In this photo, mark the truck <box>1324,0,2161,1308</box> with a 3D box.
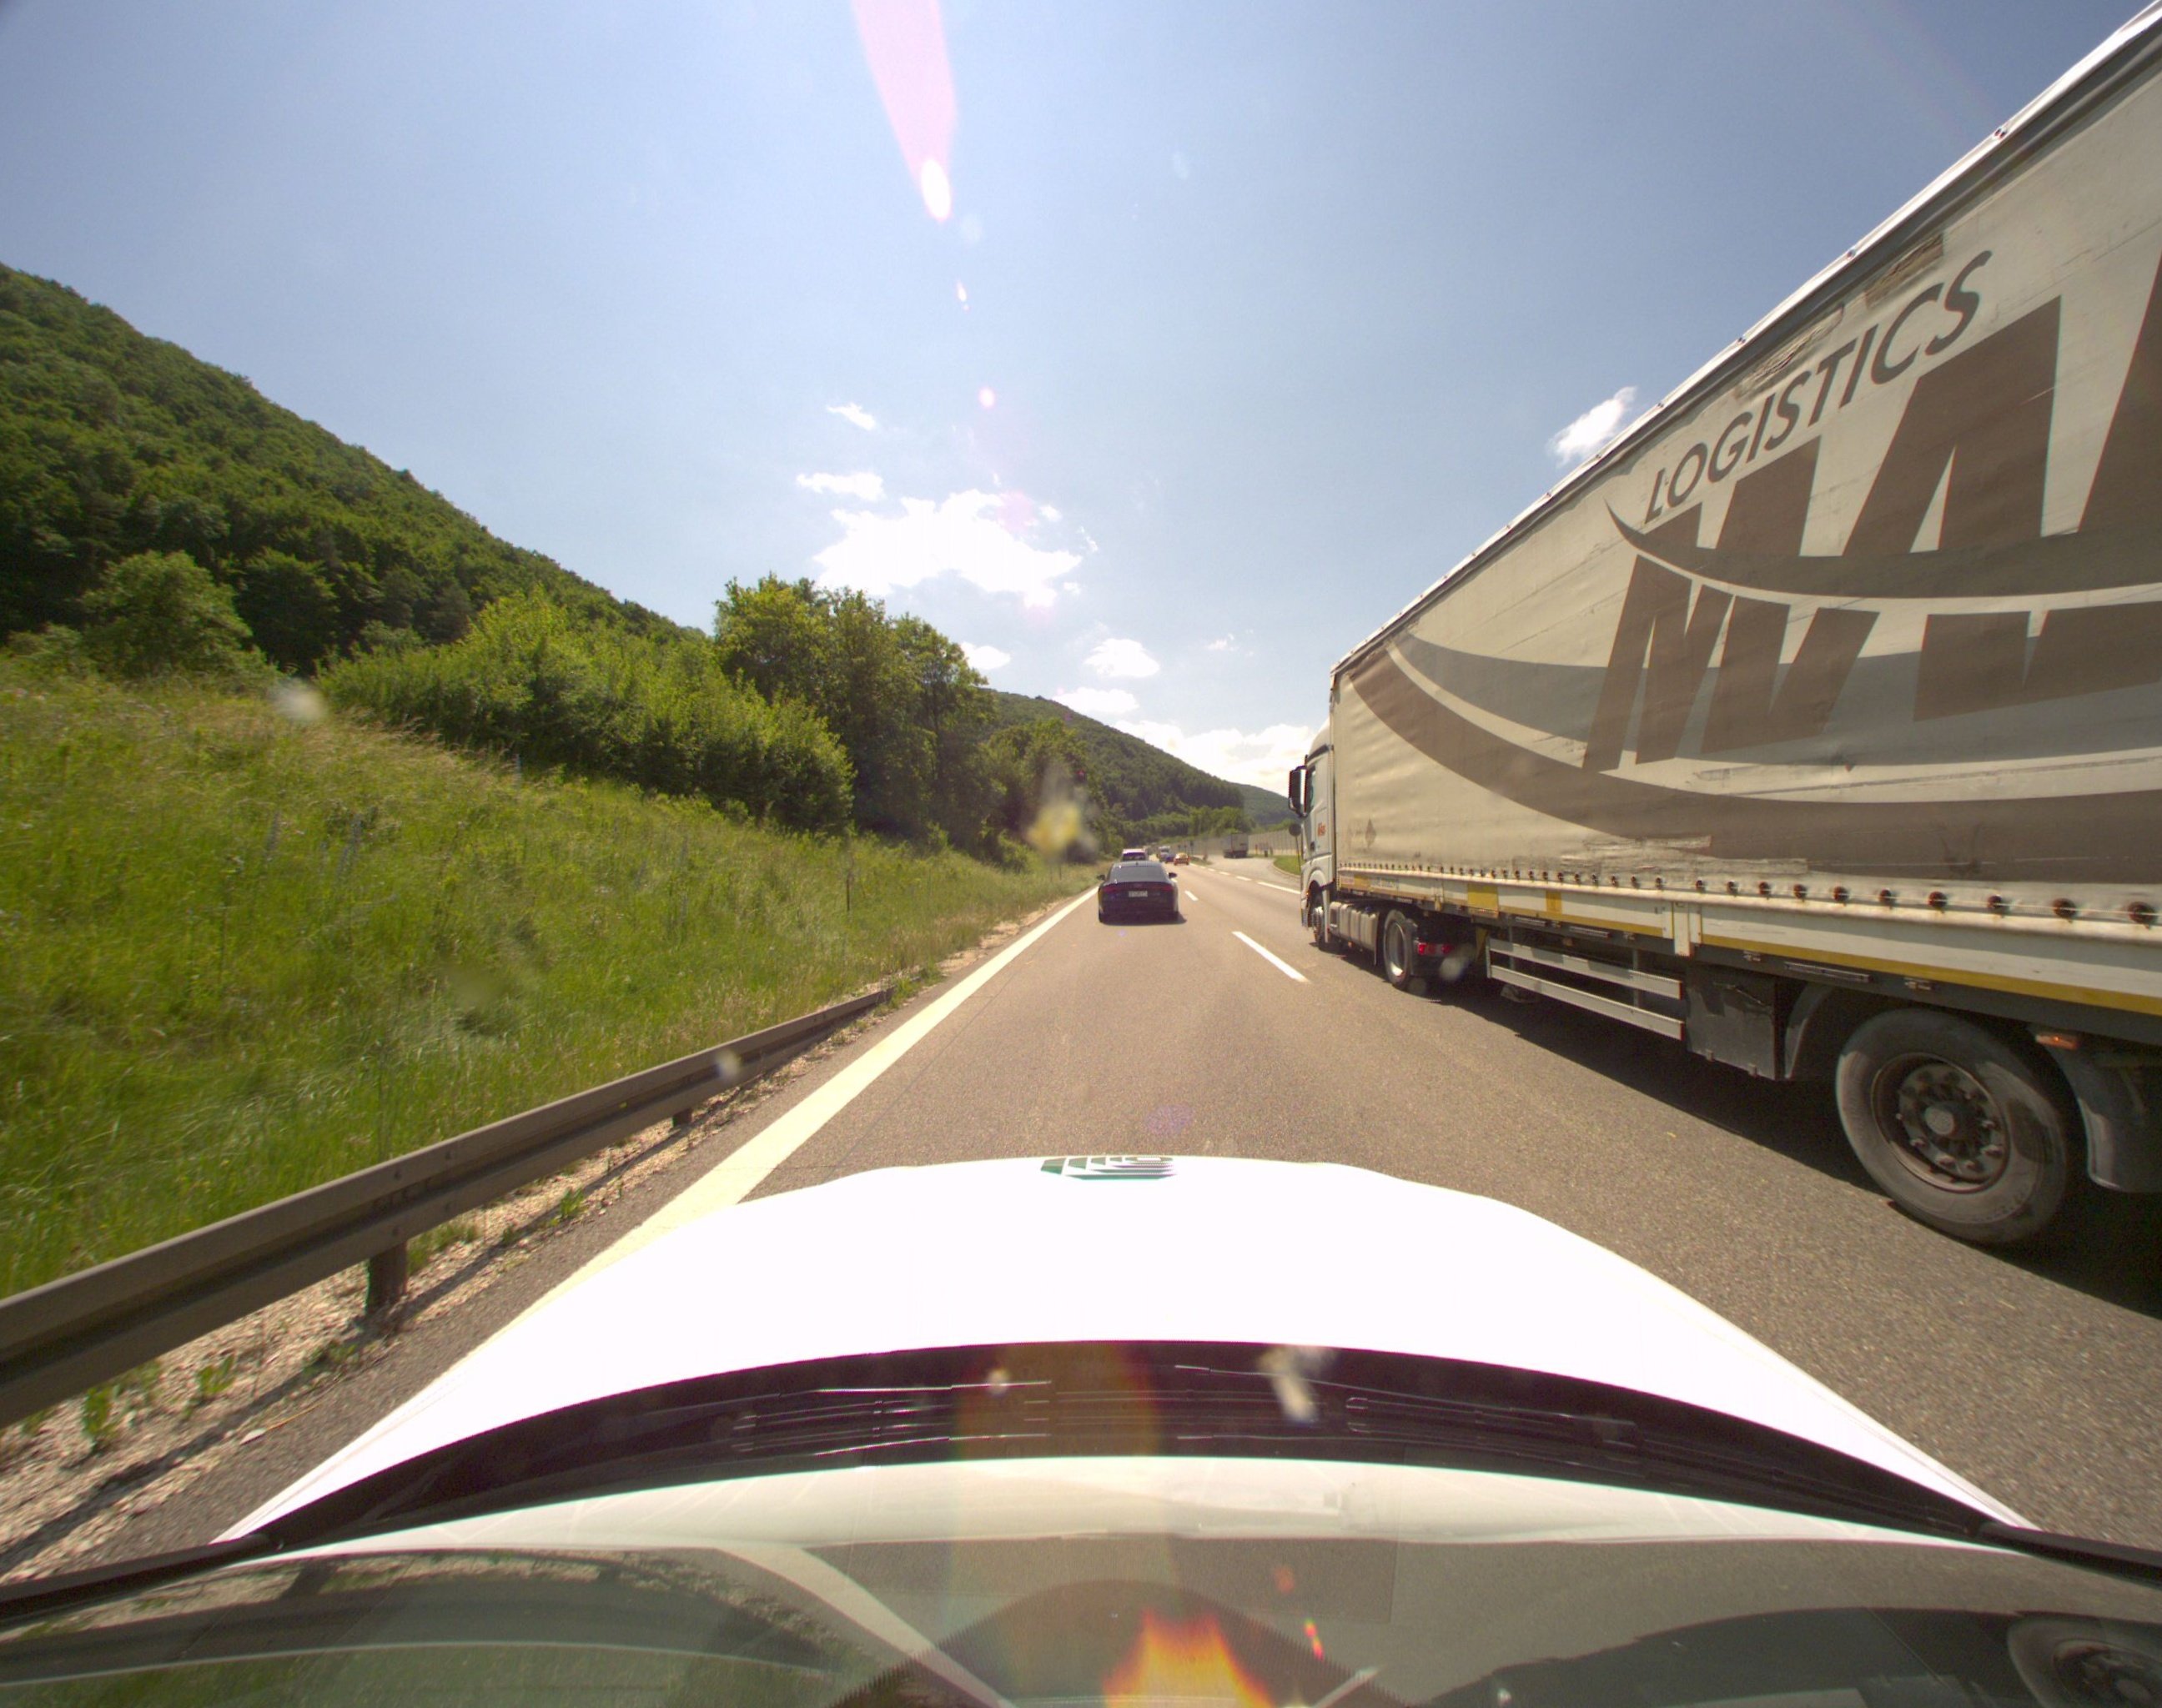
[{"bbox_3d":[4.566,-0.700,4.588,2.715,4.068,13.747,-1,-1,2],"label":"truck"}]

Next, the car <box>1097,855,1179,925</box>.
[{"bbox_3d":[1.406,0.821,20.013,1.804,1.514,3.518,-1,0,4],"label":"car"}]

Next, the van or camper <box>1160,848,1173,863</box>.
[{"bbox_3d":[17.454,0.331,166.612,2.418,3.155,5.210,0,-1,5],"label":"van or camper"}]

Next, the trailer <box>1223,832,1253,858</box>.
[{"bbox_3d":[24.847,-1.393,129.559,3.396,3.900,11.164,-2,0,4],"label":"trailer"}]

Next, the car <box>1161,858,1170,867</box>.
[{"bbox_3d":[14.248,1.394,137.098,1.523,1.525,3.601,0,-1,5],"label":"car"}]

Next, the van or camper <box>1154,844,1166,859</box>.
[{"bbox_3d":[20.963,-0.621,215.413,2.783,3.907,6.171,0,-1,3],"label":"van or camper"}]

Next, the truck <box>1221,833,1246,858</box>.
[{"bbox_3d":[25.291,-1.408,135.143,3.396,3.900,5.394,-2,0,4],"label":"truck"}]

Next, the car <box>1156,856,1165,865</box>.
[{"bbox_3d":[18.867,1.485,193.025,1.984,2.014,4.004,0,-1,4],"label":"car"}]

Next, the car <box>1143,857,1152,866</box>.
[{"bbox_3d":[11.555,1.337,141.667,1.513,1.553,3.520,0,-1,6],"label":"car"}]

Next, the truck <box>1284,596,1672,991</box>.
[{"bbox_3d":[4.844,-0.593,11.387,2.708,4.068,5.757,-1,-1,2],"label":"truck"}]

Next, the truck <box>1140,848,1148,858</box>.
[{"bbox_3d":[17.923,-0.311,232.083,2.054,2.606,5.624,0,-1,6],"label":"truck"}]

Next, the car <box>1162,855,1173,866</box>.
[{"bbox_3d":[12.531,0.966,117.565,1.523,1.525,3.601,0,-1,5],"label":"car"}]

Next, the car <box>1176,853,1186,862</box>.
[{"bbox_3d":[22.577,0.847,184.229,1.985,2.014,4.004,-2,0,4],"label":"car"}]

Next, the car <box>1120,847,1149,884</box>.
[{"bbox_3d":[2.934,0.622,44.493,1.514,1.968,3.518,0,-1,4],"label":"car"}]

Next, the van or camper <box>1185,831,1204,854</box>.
[{"bbox_3d":[19.404,-1.950,139.562,2.783,3.841,6.171,0,-1,3],"label":"van or camper"}]

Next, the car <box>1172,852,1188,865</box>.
[{"bbox_3d":[12.540,0.575,103.213,1.870,1.499,4.005,-2,0,5],"label":"car"}]

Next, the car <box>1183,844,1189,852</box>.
[{"bbox_3d":[28.168,-1.660,218.516,1.569,2.013,3.432,-2,0,5],"label":"car"}]
